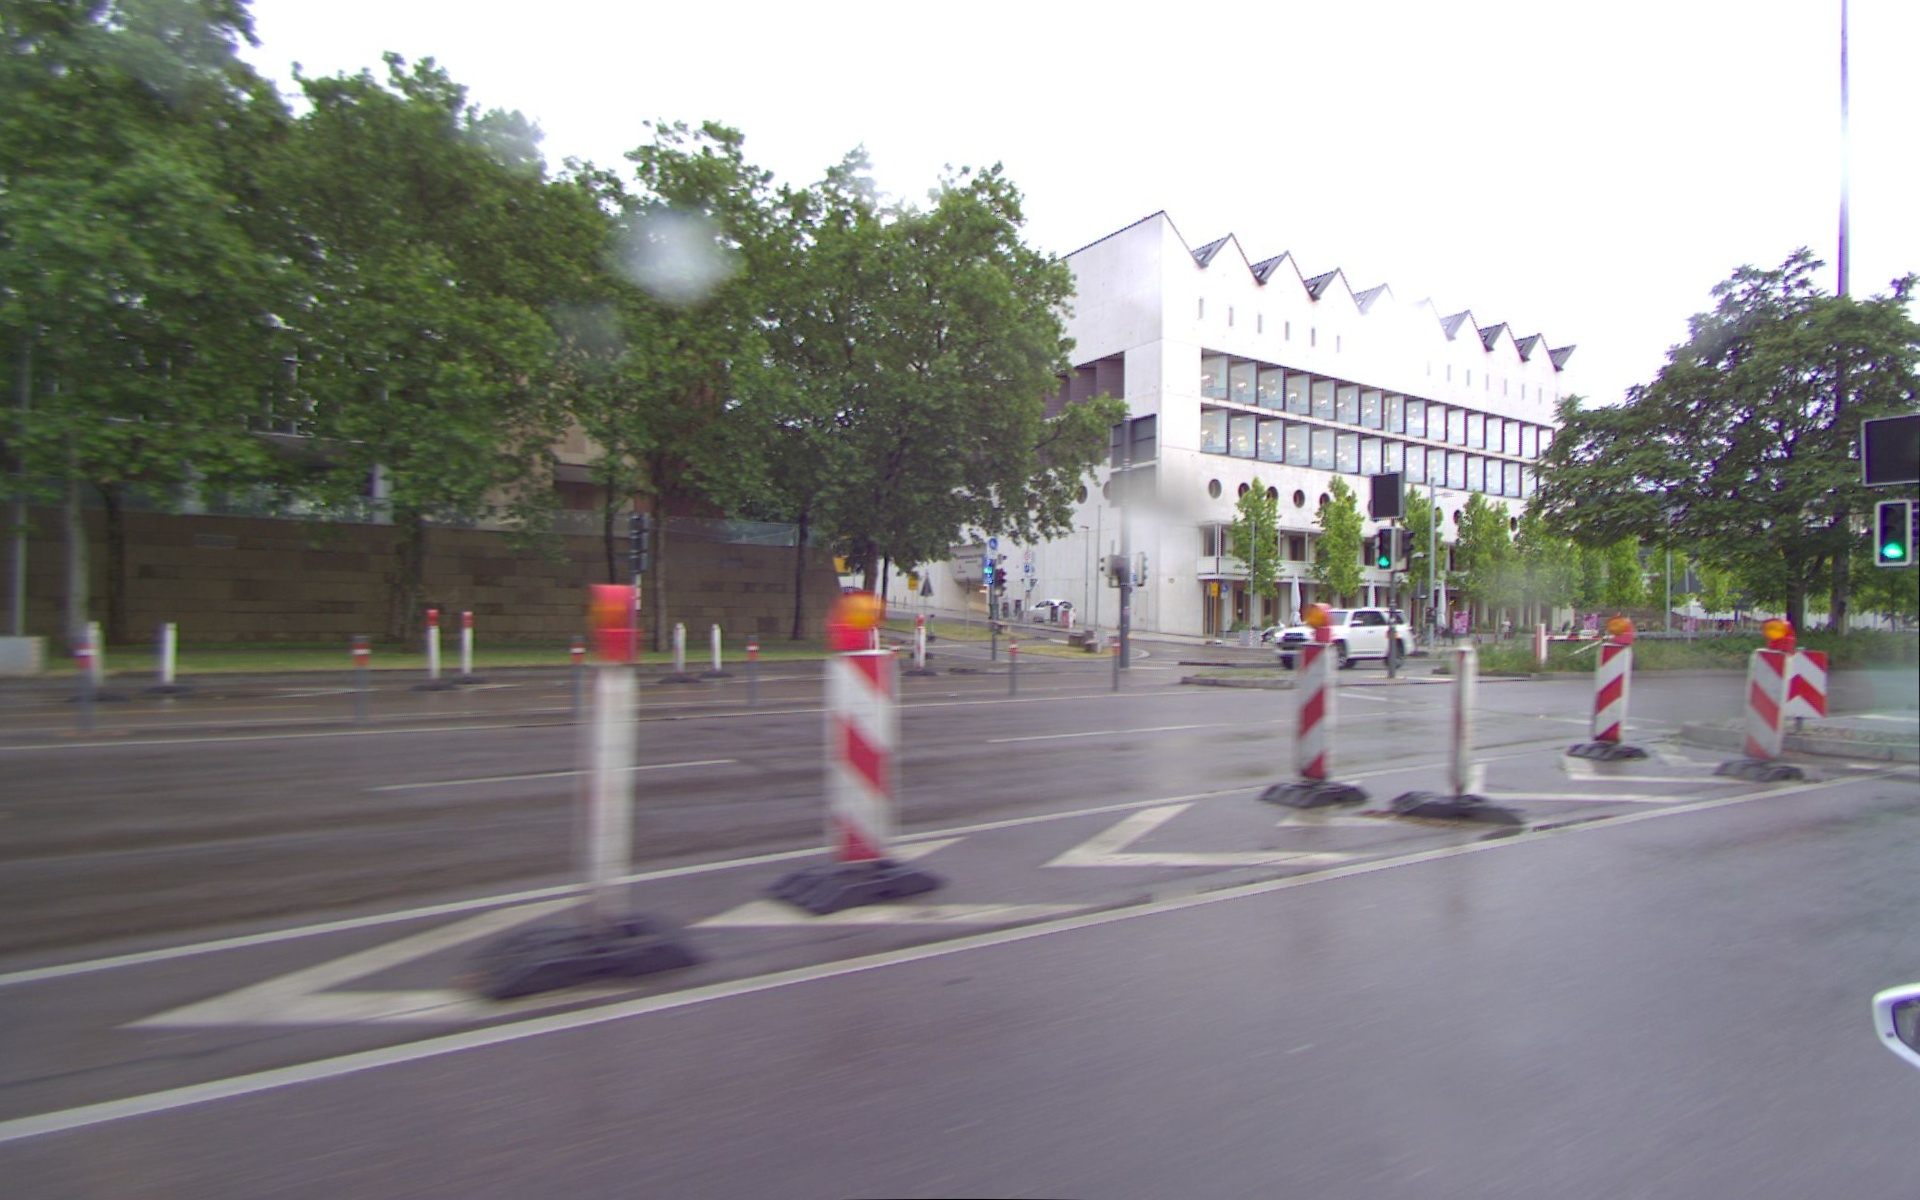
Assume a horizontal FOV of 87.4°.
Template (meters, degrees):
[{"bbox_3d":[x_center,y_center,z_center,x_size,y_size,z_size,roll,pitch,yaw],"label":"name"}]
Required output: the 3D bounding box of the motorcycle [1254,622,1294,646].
[{"bbox_3d":[15.542,1.688,49.746,1.807,1.169,0.426,0,-1,31],"label":"motorcycle"}]

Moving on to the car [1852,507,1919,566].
[{"bbox_3d":[31.504,-2.065,33.433,3.963,1.654,1.979,1,-1,-37],"label":"car"}]

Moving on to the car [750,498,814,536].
[{"bbox_3d":[-12.317,-5.691,69.576,3.952,2.142,1.985,2,-3,-30],"label":"car"}]

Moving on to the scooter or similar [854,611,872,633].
[{"bbox_3d":[-4.675,1.054,48.318,0.430,1.031,1.668,1,-3,-20],"label":"scooter or similar"}]

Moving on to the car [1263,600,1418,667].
[{"bbox_3d":[11.487,1.041,30.189,4.843,1.864,1.981,2,-3,-35],"label":"car"}]

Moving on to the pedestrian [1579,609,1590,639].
[{"bbox_3d":[42.723,1.644,68.674,0.531,2.040,0.530,0,-2,23],"label":"pedestrian"}]

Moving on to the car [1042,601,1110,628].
[{"bbox_3d":[7.026,0.882,61.092,1.979,1.617,3.962,1,-1,-34],"label":"car"}]

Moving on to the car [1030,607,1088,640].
[{"bbox_3d":[6.399,1.545,65.341,1.974,2.040,3.973,2,-3,-27],"label":"car"}]

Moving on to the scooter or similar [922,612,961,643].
[{"bbox_3d":[-0.855,1.273,45.454,1.646,1.369,0.713,1,-2,-12],"label":"scooter or similar"}]

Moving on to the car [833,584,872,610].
[{"bbox_3d":[-9.089,-0.222,84.902,1.974,2.040,3.973,2,-3,-27],"label":"car"}]
